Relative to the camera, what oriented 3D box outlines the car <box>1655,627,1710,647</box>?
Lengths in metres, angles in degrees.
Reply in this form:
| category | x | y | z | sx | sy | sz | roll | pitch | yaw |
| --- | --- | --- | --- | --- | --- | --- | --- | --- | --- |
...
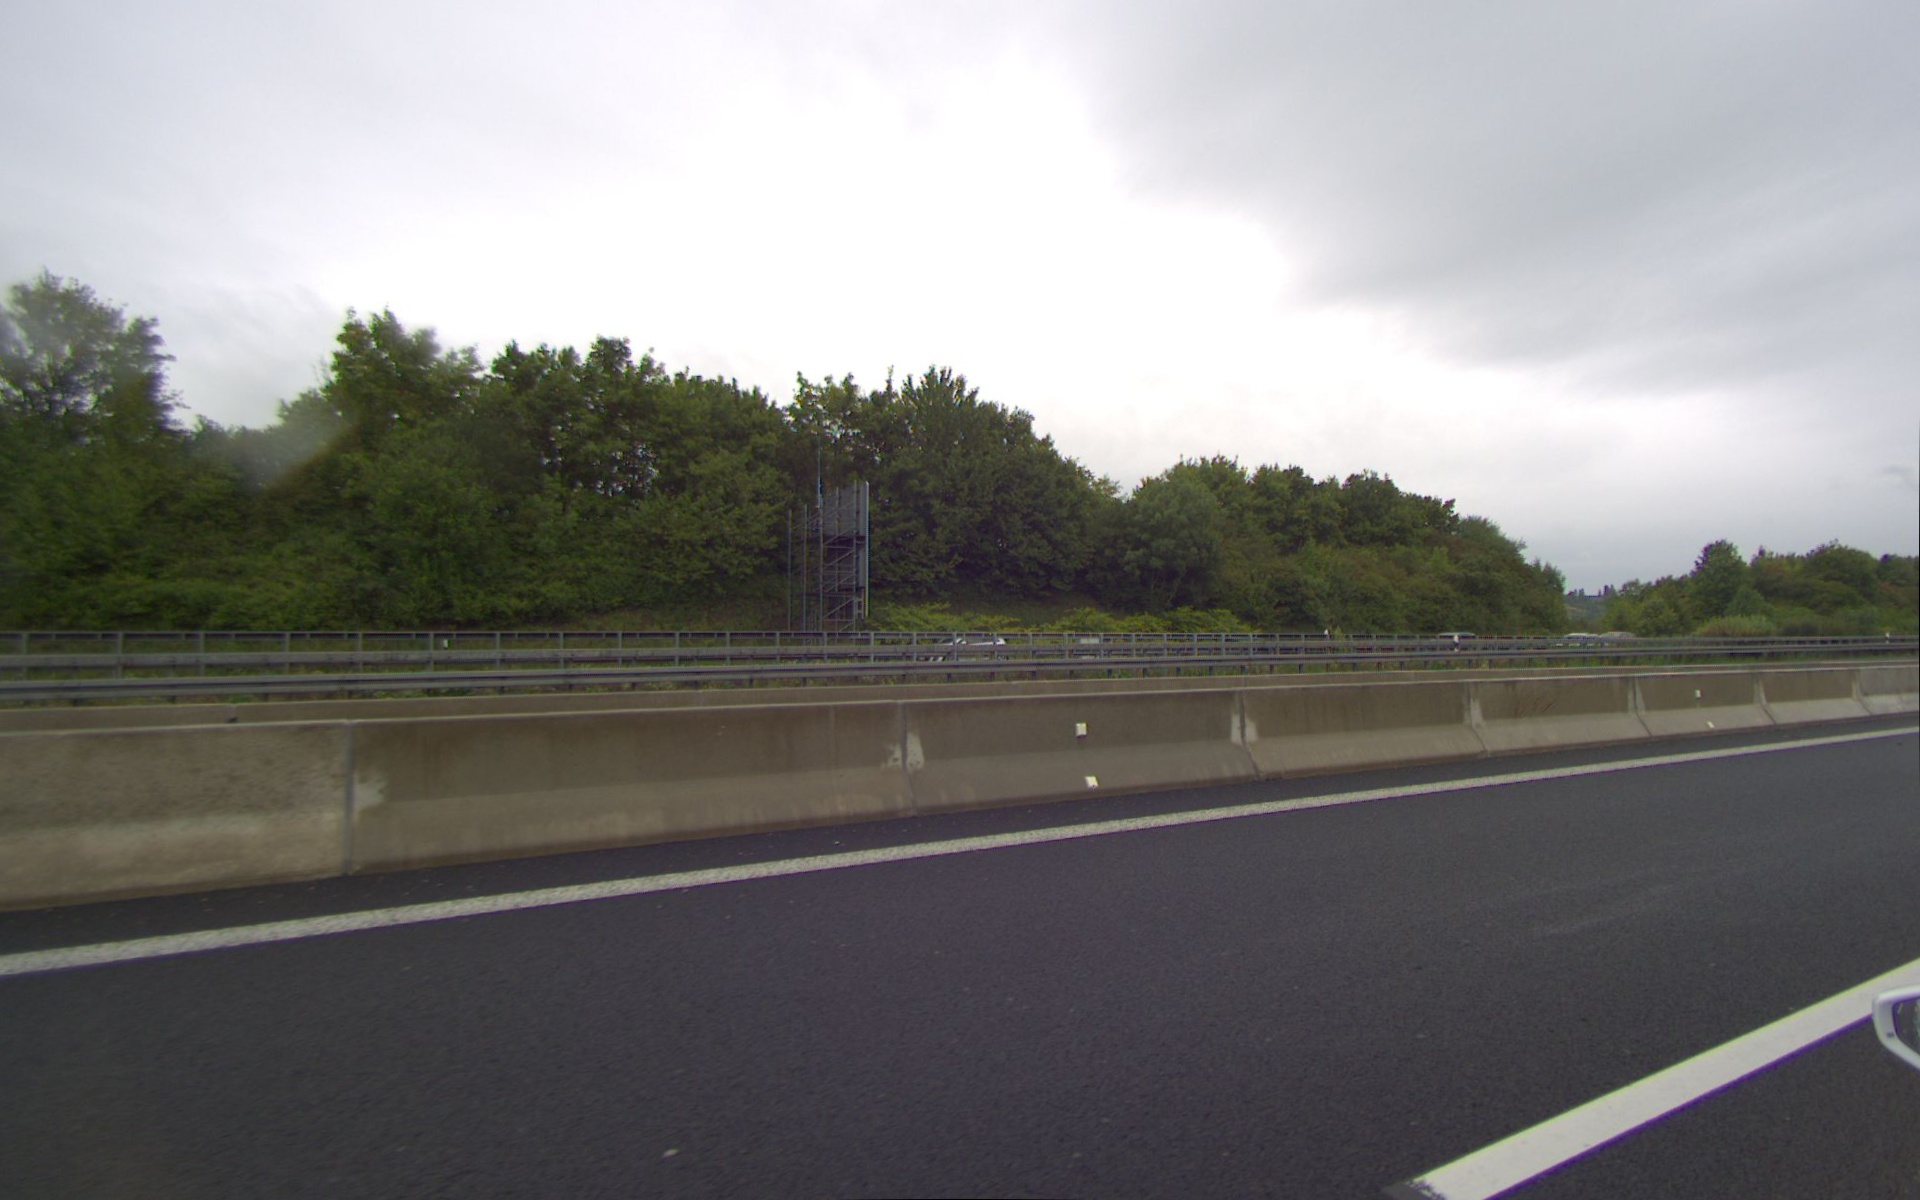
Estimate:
| category | x | y | z | sx | sy | sz | roll | pitch | yaw |
| --- | --- | --- | --- | --- | --- | --- | --- | --- | --- |
| car | 55.405 | 2.857 | 76.998 | 4.725 | 1.475 | 1.809 | 2 | -1 | -32 |

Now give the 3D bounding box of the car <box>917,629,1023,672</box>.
| category | x | y | z | sx | sy | sz | roll | pitch | yaw |
| --- | --- | --- | --- | --- | --- | --- | --- | --- | --- |
| car | 0.415 | 2.047 | 41.233 | 4.014 | 1.653 | 1.809 | 2 | -1 | -32 |
